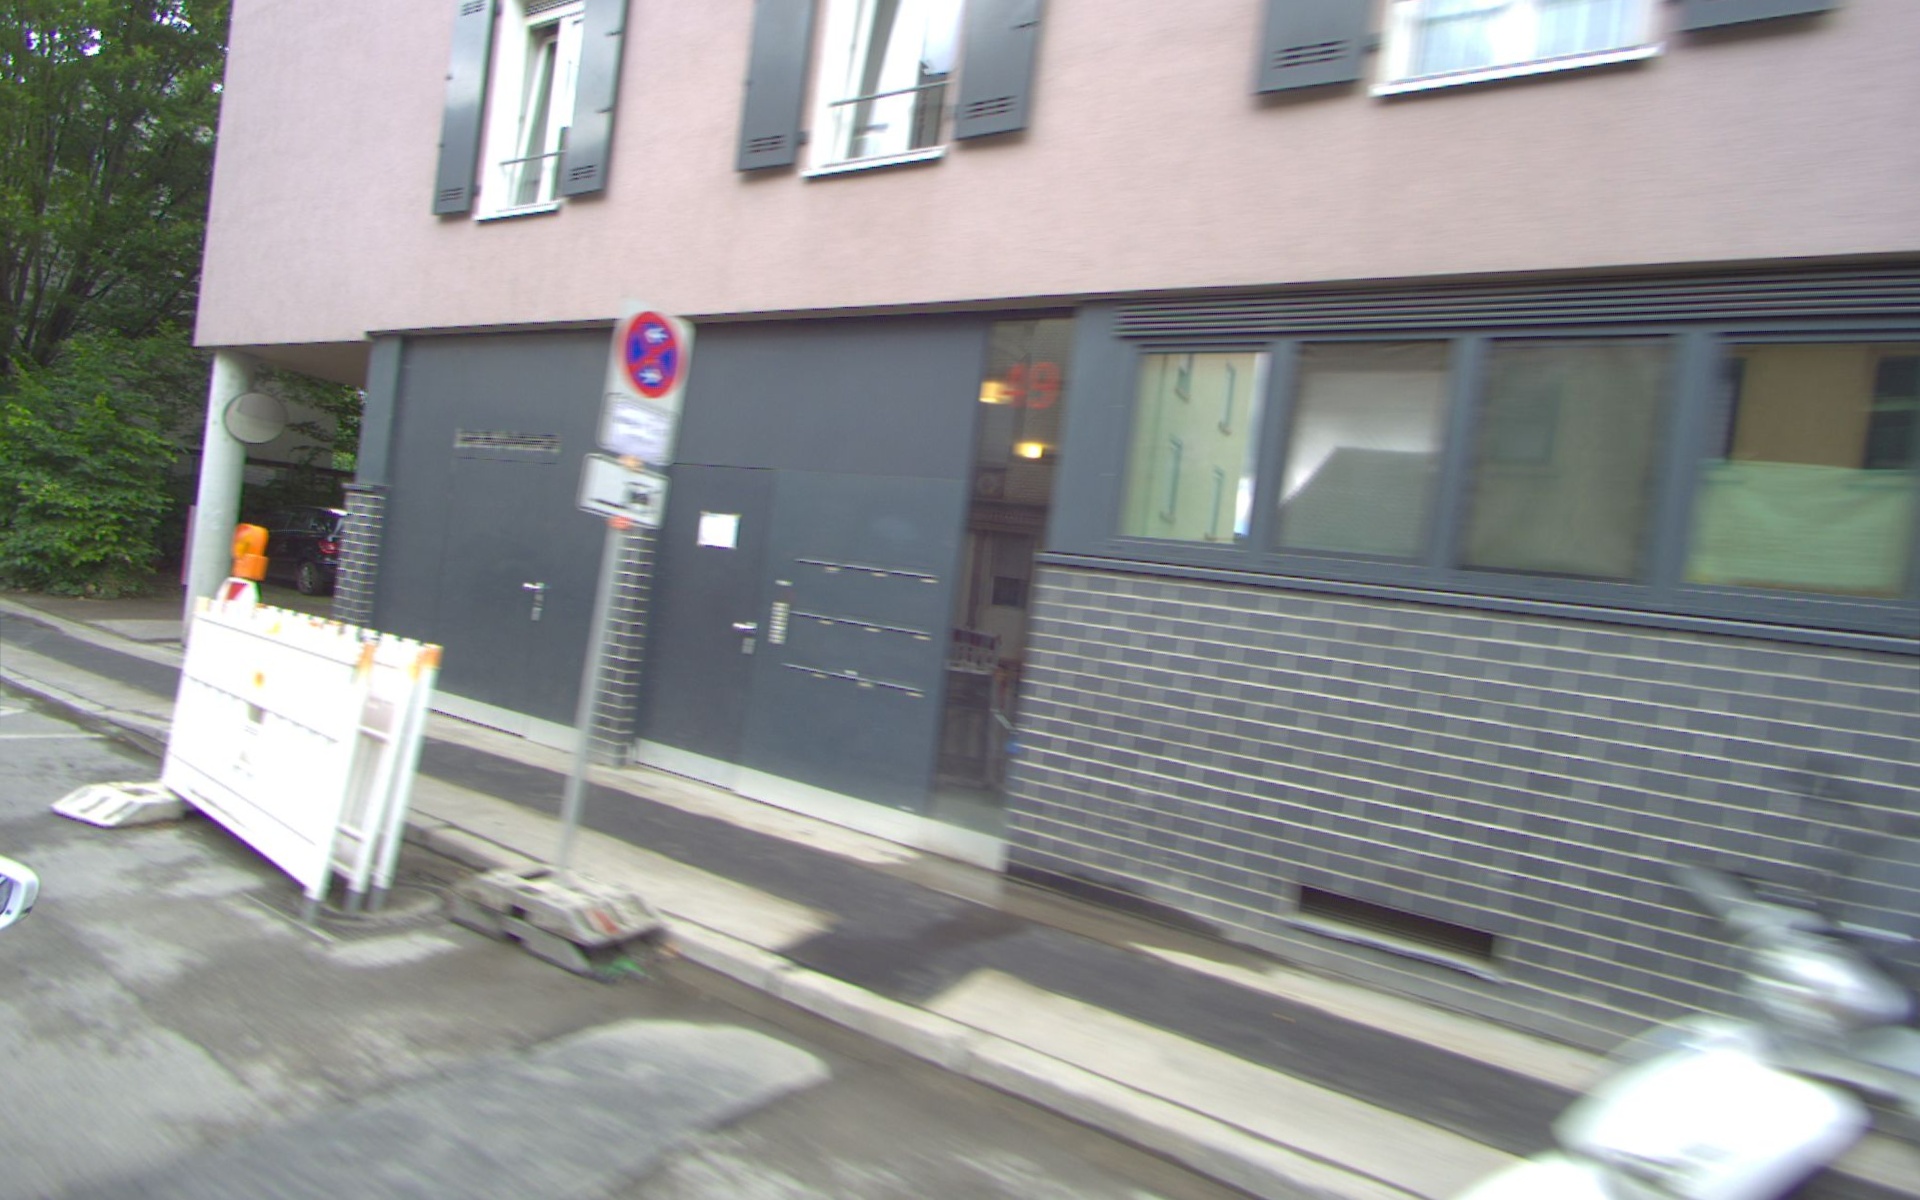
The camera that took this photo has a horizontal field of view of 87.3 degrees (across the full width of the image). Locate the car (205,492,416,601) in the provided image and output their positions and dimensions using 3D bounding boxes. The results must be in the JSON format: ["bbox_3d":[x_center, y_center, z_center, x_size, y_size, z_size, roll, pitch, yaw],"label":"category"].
[{"bbox_3d":[-12.657,-1.049,19.561,3.930,1.606,1.637,8,3,27],"label":"car"}]

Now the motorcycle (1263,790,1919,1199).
[{"bbox_3d":[1.736,1.170,1.616,2.298,1.240,0.648,7,-1,31],"label":"motorcycle"}]
